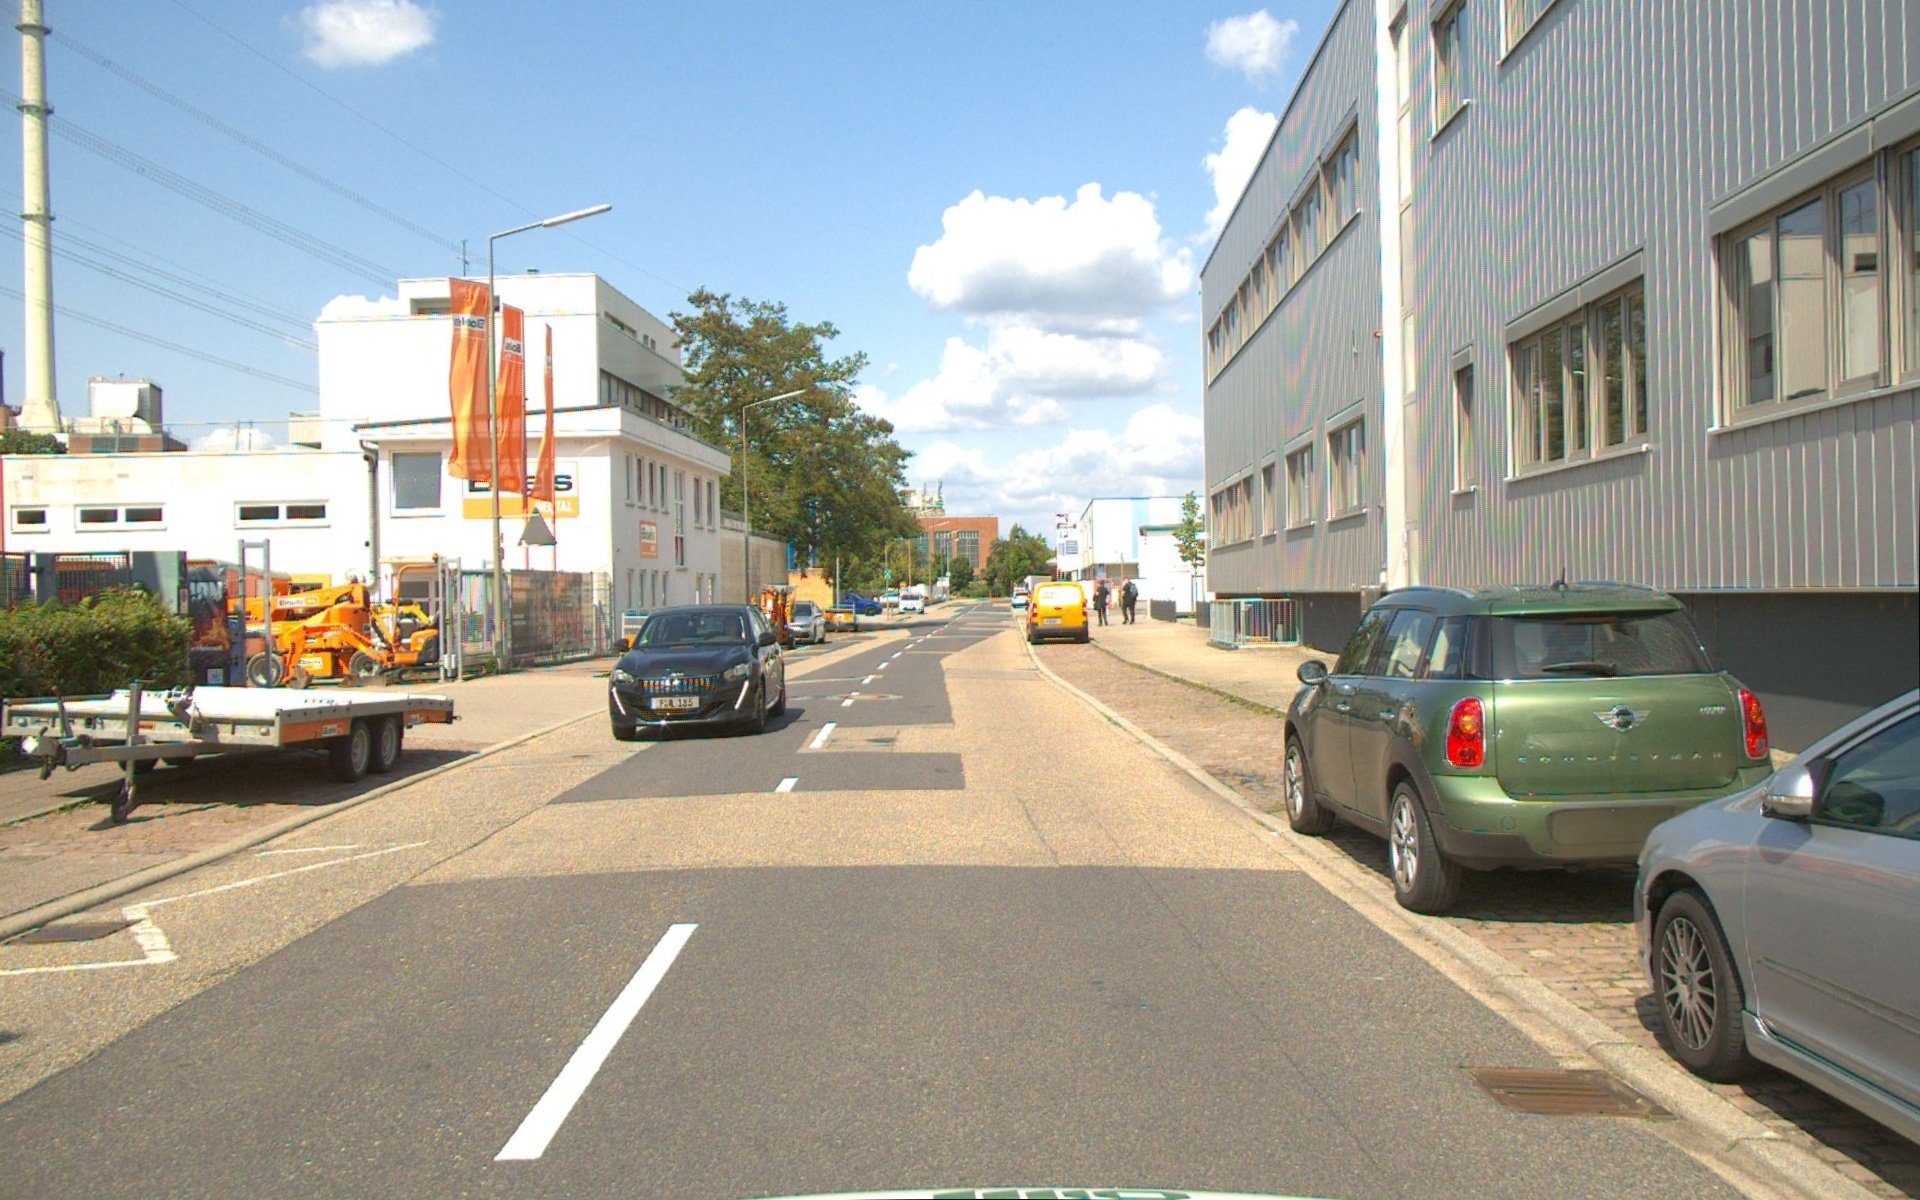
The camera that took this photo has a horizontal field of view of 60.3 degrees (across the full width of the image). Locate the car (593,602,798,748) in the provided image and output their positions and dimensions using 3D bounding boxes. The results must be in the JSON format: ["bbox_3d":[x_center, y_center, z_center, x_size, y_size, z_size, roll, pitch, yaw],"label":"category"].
[{"bbox_3d":[-3.001,0.800,19.547,1.699,1.467,4.000,-3,0,0],"label":"car"}]

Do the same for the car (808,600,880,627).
[{"bbox_3d":[-7.916,0.920,112.614,4.604,1.621,1.910,-3,0,-12],"label":"car"}]

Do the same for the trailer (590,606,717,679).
[{"bbox_3d":[-6.275,0.829,34.398,1.731,1.400,5.050,0,0,0],"label":"trailer"}]

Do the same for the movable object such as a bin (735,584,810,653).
[{"bbox_3d":[-5.715,0.540,50.924,1.580,1.952,5.139,2,0,1],"label":"movable object such as a bin"}]

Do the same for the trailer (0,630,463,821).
[{"bbox_3d":[-6.343,0.886,13.988,2.400,1.184,6.053,0,0,0],"label":"trailer"}]

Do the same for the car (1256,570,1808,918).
[{"bbox_3d":[2.938,0.655,9.475,1.675,1.537,4.114,1,0,-1],"label":"car"}]

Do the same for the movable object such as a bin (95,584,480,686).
[{"bbox_3d":[-14.397,0.727,35.814,7.452,2.040,1.903,-1,0,-6],"label":"movable object such as a bin"}]

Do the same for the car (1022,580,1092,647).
[{"bbox_3d":[2.971,0.418,51.615,1.834,1.925,4.452,2,0,0],"label":"car"}]

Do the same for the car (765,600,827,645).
[{"bbox_3d":[-5.522,0.749,56.103,1.639,1.481,4.513,0,0,0],"label":"car"}]

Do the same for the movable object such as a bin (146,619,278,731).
[{"bbox_3d":[-10.371,1.021,23.002,1.289,1.452,1.187,-2,0,-4],"label":"movable object such as a bin"}]

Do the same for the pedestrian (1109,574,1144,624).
[{"bbox_3d":[6.788,-0.029,67.588,0.975,1.985,1.084,-2,0,-21],"label":"pedestrian"}]

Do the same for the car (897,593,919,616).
[{"bbox_3d":[-3.959,0.352,125.010,1.651,1.693,3.998,-1,0,-2],"label":"car"}]

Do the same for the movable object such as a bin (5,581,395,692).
[{"bbox_3d":[-14.903,0.691,32.787,6.729,2.040,1.903,-1,0,-6],"label":"movable object such as a bin"}]

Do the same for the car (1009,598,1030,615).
[{"bbox_3d":[5.533,0.605,154.708,1.829,1.547,4.598,-1,0,1],"label":"car"}]

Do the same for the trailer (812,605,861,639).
[{"bbox_3d":[-5.435,0.955,73.358,1.730,1.464,4.336,1,0,1],"label":"trailer"}]

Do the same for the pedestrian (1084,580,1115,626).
[{"bbox_3d":[5.650,0.120,66.912,0.844,1.839,0.999,-2,0,-21],"label":"pedestrian"}]

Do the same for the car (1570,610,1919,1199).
[{"bbox_3d":[3.198,0.773,4.181,1.675,1.458,4.256,1,0,-1],"label":"car"}]
